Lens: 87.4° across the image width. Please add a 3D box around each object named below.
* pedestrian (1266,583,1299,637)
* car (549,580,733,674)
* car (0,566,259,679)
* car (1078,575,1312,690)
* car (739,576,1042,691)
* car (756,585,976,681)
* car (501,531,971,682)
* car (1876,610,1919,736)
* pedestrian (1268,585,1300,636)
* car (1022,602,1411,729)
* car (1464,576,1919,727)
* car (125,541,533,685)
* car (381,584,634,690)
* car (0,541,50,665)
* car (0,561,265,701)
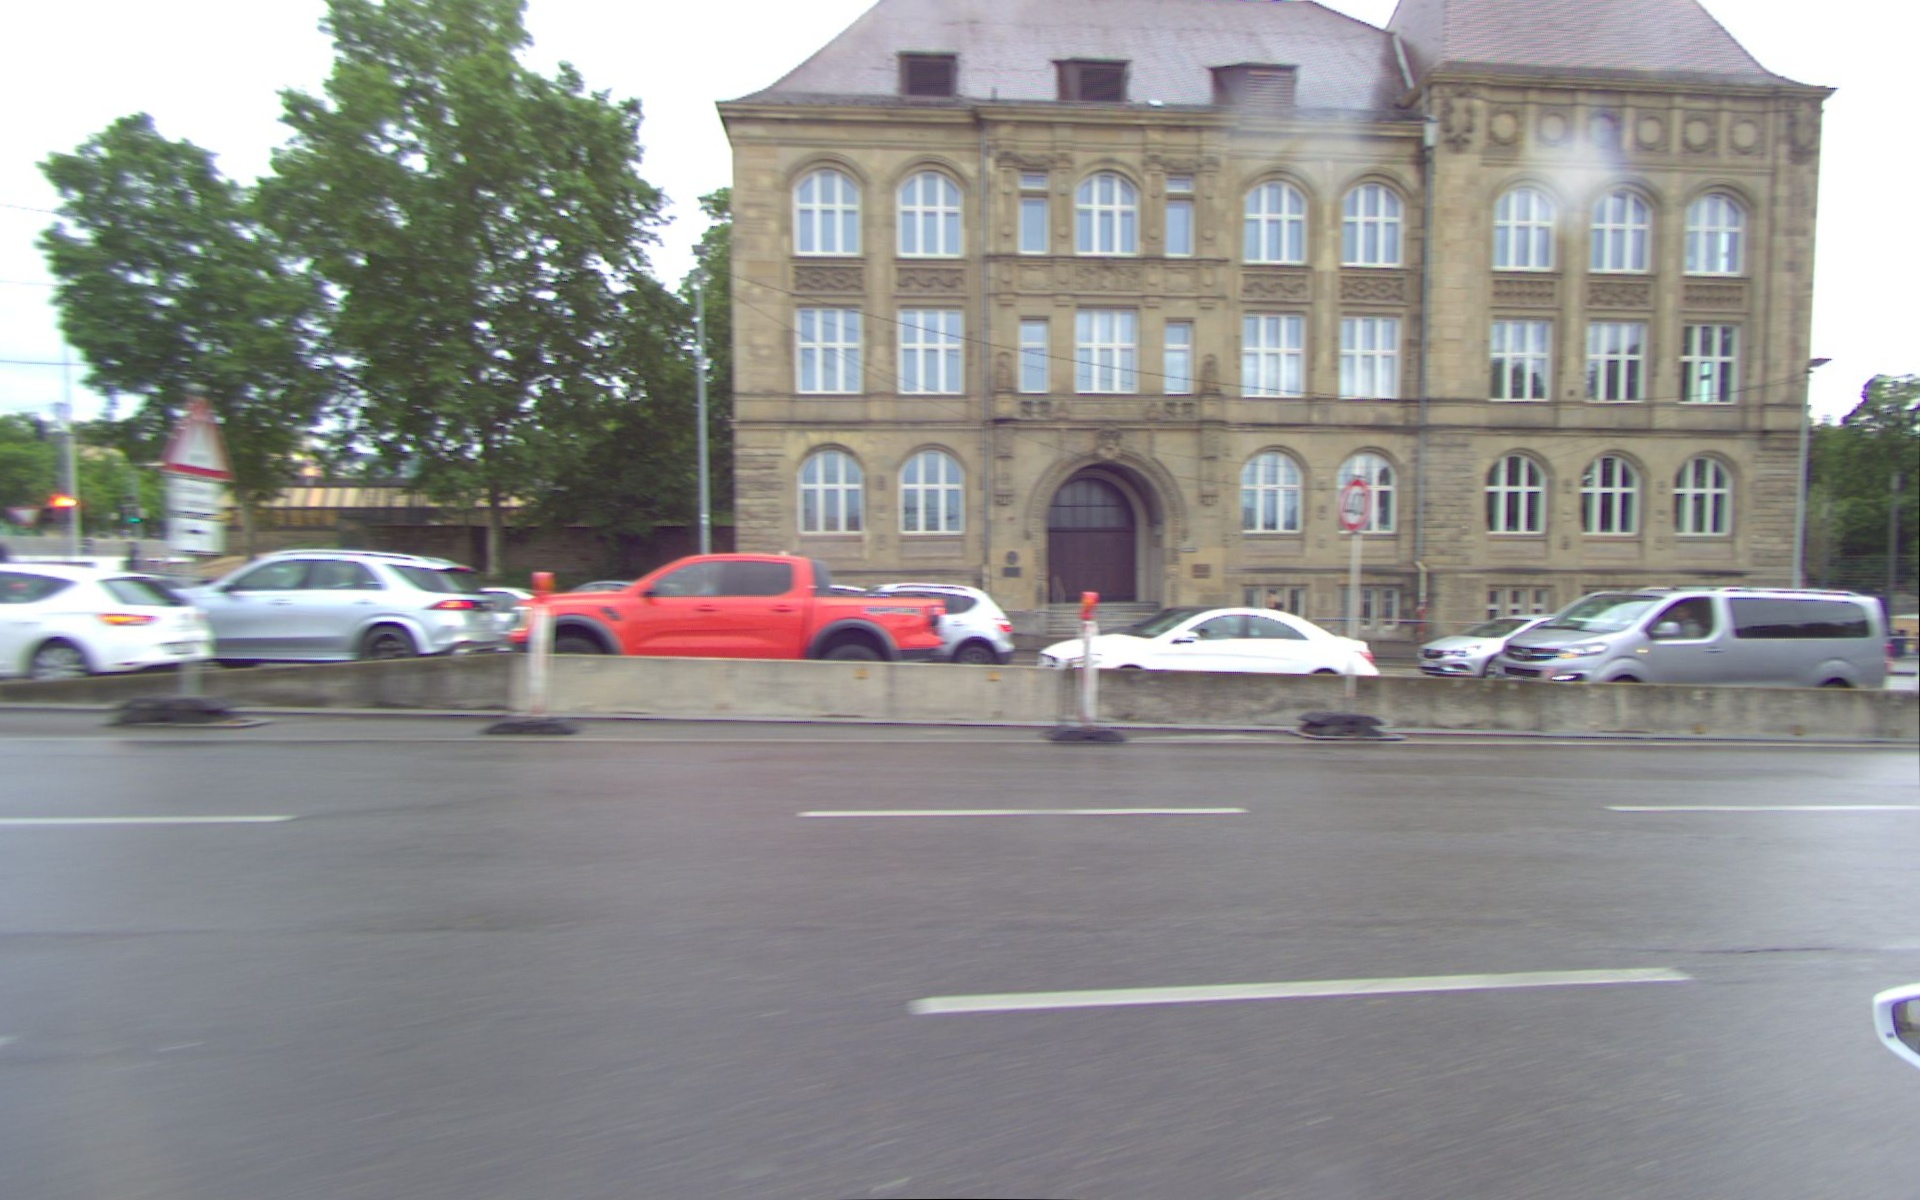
[{"bbox_3d":[9.916,0.310,30.910,0.721,1.605,0.618,2,0,-6],"label":"pedestrian"},{"bbox_3d":[-7.420,0.627,23.740,3.933,2.040,1.994,2,0,-14],"label":"car"},{"bbox_3d":[-15.011,0.393,17.700,3.933,1.835,1.780,2,0,-14],"label":"car"},{"bbox_3d":[4.519,0.619,19.540,3.933,2.040,1.994,2,0,-14],"label":"car"},{"bbox_3d":[-1.170,0.545,16.261,4.541,1.669,1.992,2,0,-17],"label":"car"},{"bbox_3d":[-1.867,0.625,19.392,3.933,1.673,1.994,2,0,-14],"label":"car"},{"bbox_3d":[-2.652,0.106,12.637,5.285,1.588,1.997,2,0,-9],"label":"car"},{"bbox_3d":[16.648,1.162,15.125,4.298,1.891,1.913,2,0,-8],"label":"car"},{"bbox_3d":[10.290,0.334,31.948,0.722,1.605,0.617,2,0,-13],"label":"pedestrian"},{"bbox_3d":[3.391,0.856,13.751,4.734,1.522,1.997,2,0,-9],"label":"car"},{"bbox_3d":[10.432,0.720,14.467,5.493,1.891,1.997,2,0,-8],"label":"car"},{"bbox_3d":[-8.899,0.201,14.577,4.529,1.818,1.998,2,0,-7],"label":"car"},{"bbox_3d":[-8.187,0.673,18.545,3.933,1.773,1.843,2,0,-14],"label":"car"},{"bbox_3d":[-16.244,-0.023,14.274,4.529,1.818,1.998,2,0,-7],"label":"car"},{"bbox_3d":[-11.164,0.305,11.788,4.476,1.491,1.998,2,0,-7],"label":"car"}]
